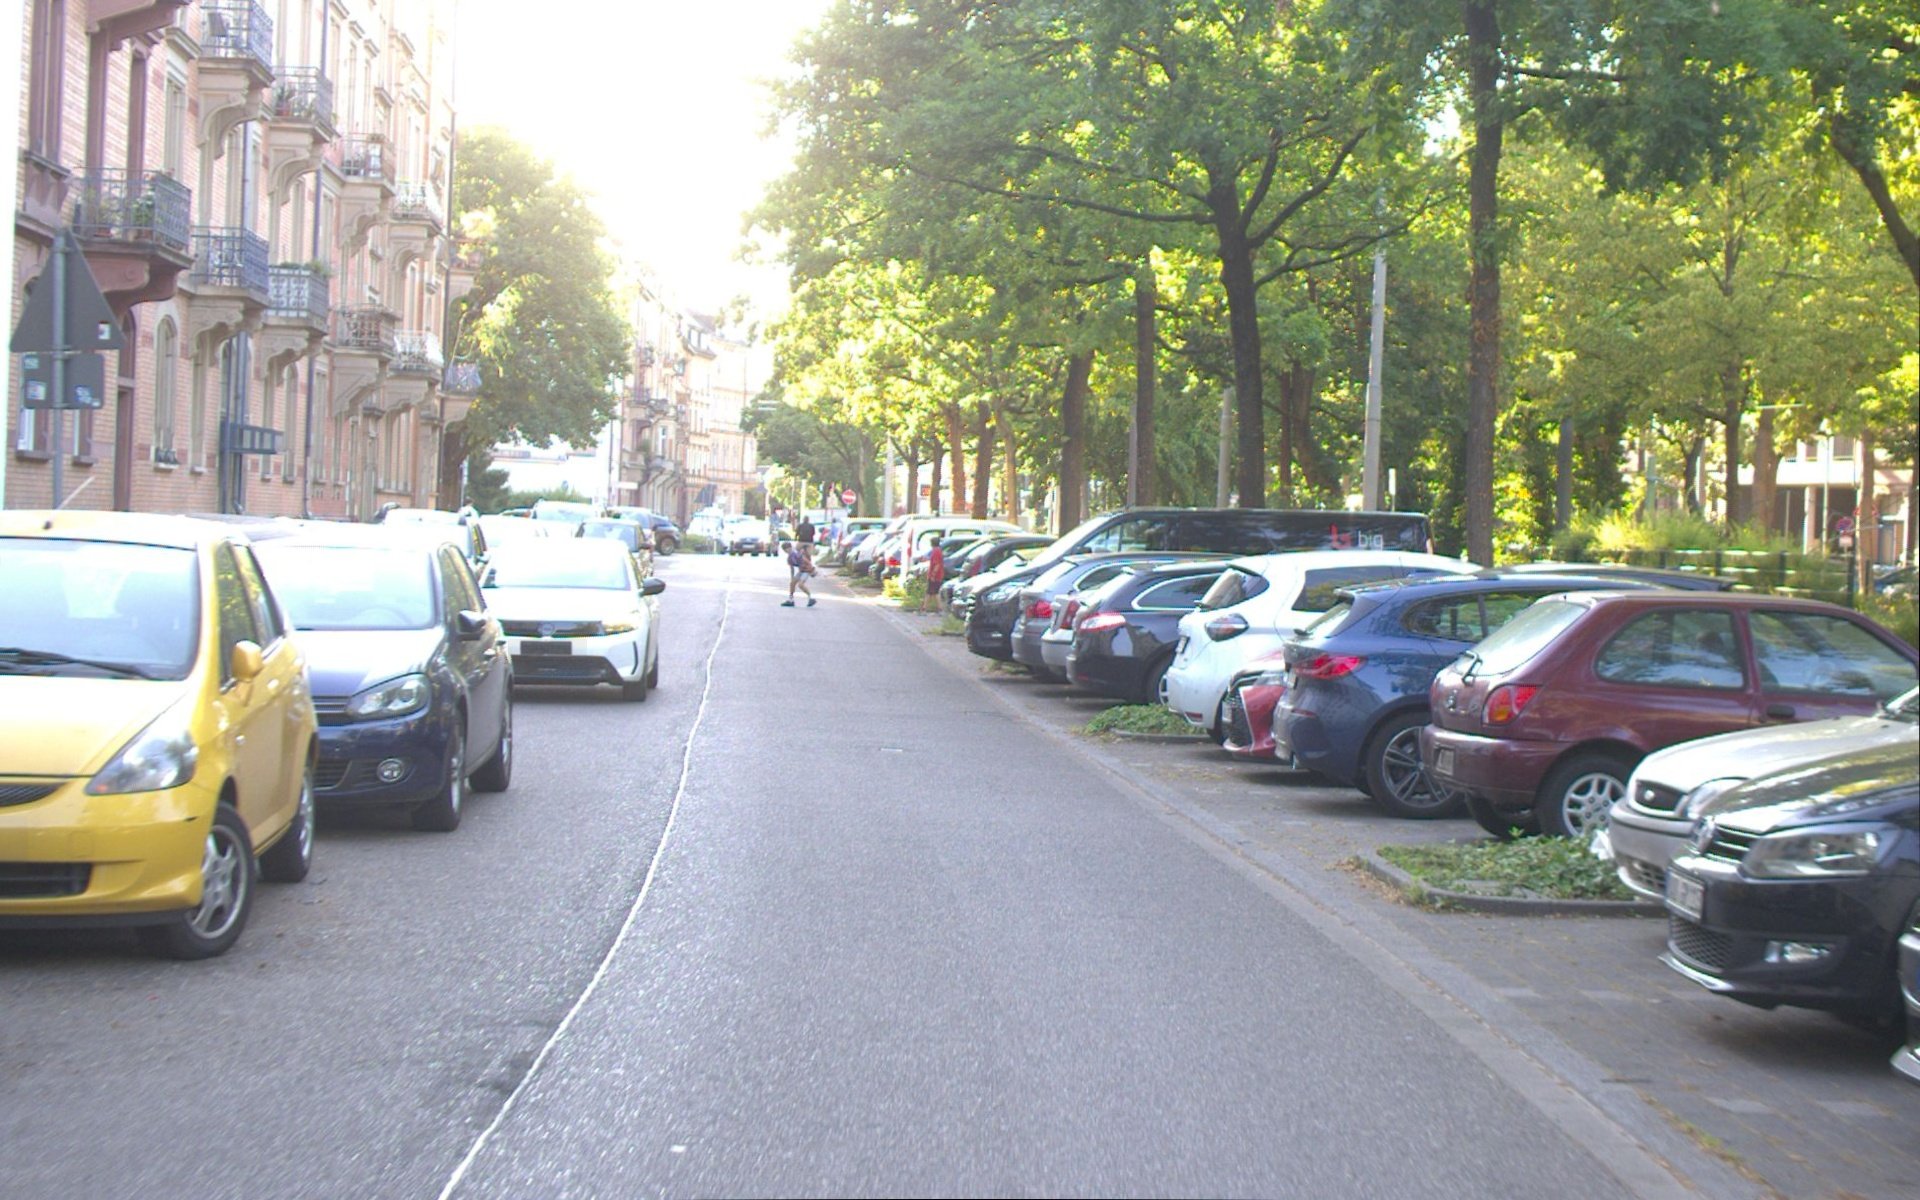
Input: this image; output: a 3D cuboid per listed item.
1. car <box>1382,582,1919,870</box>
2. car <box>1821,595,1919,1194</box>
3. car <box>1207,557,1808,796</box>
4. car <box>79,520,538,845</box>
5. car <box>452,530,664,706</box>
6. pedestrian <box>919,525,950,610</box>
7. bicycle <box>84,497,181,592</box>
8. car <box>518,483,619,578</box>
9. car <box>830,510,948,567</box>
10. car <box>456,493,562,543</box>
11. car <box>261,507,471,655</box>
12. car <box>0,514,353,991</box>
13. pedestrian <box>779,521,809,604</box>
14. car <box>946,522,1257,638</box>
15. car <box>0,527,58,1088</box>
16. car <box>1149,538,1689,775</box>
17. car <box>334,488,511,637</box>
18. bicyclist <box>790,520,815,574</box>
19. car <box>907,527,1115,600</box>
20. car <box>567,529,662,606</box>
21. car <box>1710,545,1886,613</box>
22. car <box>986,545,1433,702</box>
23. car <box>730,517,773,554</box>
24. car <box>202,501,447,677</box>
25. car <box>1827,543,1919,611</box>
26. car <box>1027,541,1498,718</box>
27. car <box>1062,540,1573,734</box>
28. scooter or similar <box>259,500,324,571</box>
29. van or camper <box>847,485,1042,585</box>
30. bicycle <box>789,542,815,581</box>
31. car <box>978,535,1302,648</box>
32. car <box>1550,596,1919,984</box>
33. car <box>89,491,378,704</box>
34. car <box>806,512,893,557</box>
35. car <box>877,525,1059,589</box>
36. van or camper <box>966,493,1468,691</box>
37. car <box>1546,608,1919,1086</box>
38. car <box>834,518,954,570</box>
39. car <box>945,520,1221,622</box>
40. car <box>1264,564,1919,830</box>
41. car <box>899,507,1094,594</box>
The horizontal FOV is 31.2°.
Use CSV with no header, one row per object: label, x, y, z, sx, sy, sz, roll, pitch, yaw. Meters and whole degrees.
car,4.323,0.660,18.258,3.781,1.397,1.767,2,0,-7
car,4.264,0.771,8.488,3.781,1.467,1.635,2,0,-7
car,3.661,0.507,23.442,3.782,1.468,1.664,2,0,-1
car,-3.273,0.341,17.979,1.739,1.474,4.001,1,1,-2
car,-3.645,0.117,31.735,1.668,1.426,4.001,0,2,-3
pedestrian,-0.465,-0.592,62.746,0.380,1.511,0.518,3,3,16
bicycle,-11.148,-0.766,46.384,0.737,1.202,2.514,3,2,-3
car,-8.847,-1.547,78.069,1.993,1.914,5.041,3,0,-5
car,-2.553,-2.202,123.349,3.986,1.788,1.859,3,-1,-6
car,-18.280,-3.317,139.492,3.986,1.700,2.000,3,-1,-2
car,-6.558,-0.253,38.292,1.615,1.446,4.000,4,1,-1
car,-3.392,0.449,13.027,1.702,1.520,3.774,2,1,-4
pedestrian,-3.224,-0.731,66.762,0.380,1.579,0.518,3,3,16
car,2.069,-0.299,51.070,4.398,1.585,1.838,1,1,-4
car,-3.309,0.563,7.835,1.566,1.512,3.783,2,1,-2
car,3.424,0.420,26.067,3.781,1.640,1.664,2,0,-2
car,-6.761,-0.500,43.572,1.751,1.700,4.201,3,1,-4
bicyclist,-4.677,-1.583,102.351,0.627,1.568,0.802,3,-1,-5
car,1.026,-0.761,70.704,4.080,1.437,1.762,1,1,-6
car,-6.729,-0.647,67.179,1.504,1.430,2.753,1,1,1
car,24.381,-0.623,100.014,4.704,1.678,1.998,3,-1,20
car,2.584,0.250,36.176,4.398,1.496,1.838,2,0,-6
car,-8.546,-2.645,141.003,1.668,1.459,4.001,1,1,-4
car,-6.162,-0.144,33.745,1.668,1.466,4.284,5,1,-3
car,25.836,-0.583,94.031,3.990,1.678,1.998,3,-1,16
car,2.897,0.282,33.587,4.399,1.572,1.664,2,0,-1
car,3.139,0.327,30.785,4.399,1.572,1.664,2,0,2
scooter or similar,-12.504,-1.187,64.360,0.783,1.218,2.704,3,0,-3
van or camper,-0.452,-1.734,93.133,4.981,2.369,2.185,3,-1,-5
bicycle,-4.711,-1.142,102.444,0.641,1.096,1.944,3,0,-5
car,2.493,-0.129,48.332,4.399,1.435,1.838,2,1,-1
car,4.390,0.734,13.473,3.781,1.397,1.664,2,0,-4
car,-5.968,-0.064,28.645,1.668,1.503,4.001,5,1,-4
car,-5.572,-3.315,173.890,3.988,2.007,1.999,3,-1,8
car,0.202,-1.016,80.626,4.220,1.448,1.649,1,1,1
van or camper,2.820,-0.116,38.685,5.413,2.020,2.030,2,2,-1
car,3.983,0.774,11.138,3.781,1.397,1.827,2,0,-2
car,-2.314,-1.947,120.688,3.986,1.558,1.859,3,-1,-6
car,2.073,-0.498,58.455,4.398,1.585,1.838,1,1,-8
car,3.787,0.564,20.729,3.782,1.442,1.664,1,0,2
car,0.780,-1.097,76.197,4.219,1.857,1.762,1,1,-2
